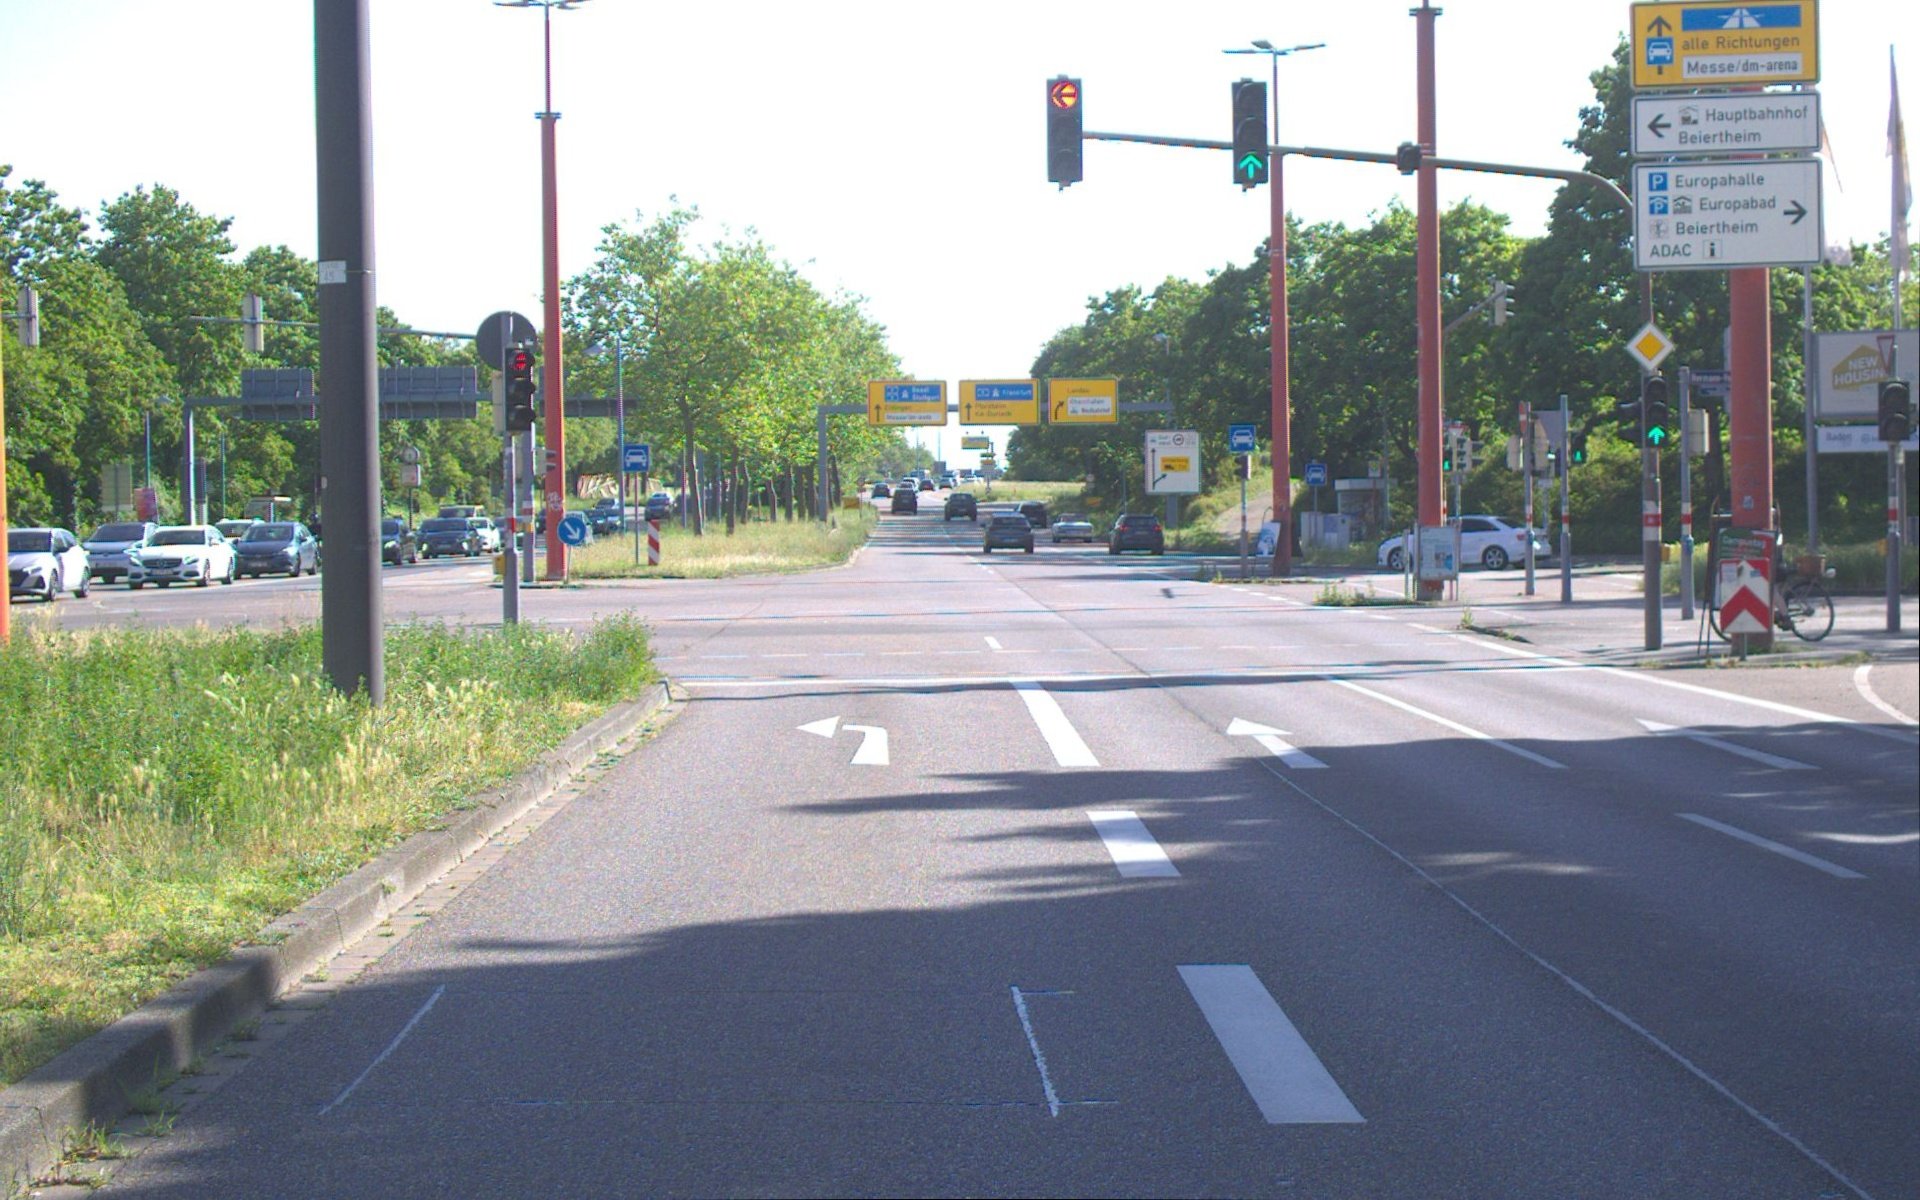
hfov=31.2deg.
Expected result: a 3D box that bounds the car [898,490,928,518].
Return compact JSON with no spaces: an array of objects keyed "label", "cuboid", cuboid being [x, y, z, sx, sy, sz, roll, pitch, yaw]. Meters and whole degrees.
[{"label":"car","cuboid":[-3.427,-6.922,248.801,1.993,2.007,4.001,0,1,-3]}]

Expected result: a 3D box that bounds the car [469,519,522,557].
[{"label":"car","cuboid":[-18.527,-2.485,137.264,1.605,1.454,3.950,-1,1,0]}]

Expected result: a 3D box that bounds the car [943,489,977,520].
[{"label":"car","cuboid":[0.003,-6.255,225.908,2.154,2.007,4.000,-1,1,-1]}]

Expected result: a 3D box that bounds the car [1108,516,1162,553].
[{"label":"car","cuboid":[6.365,-2.403,125.363,1.738,1.337,3.082,-1,1,-1]}]

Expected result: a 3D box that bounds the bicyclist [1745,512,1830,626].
[{"label":"bicyclist","cuboid":[9.807,-0.370,40.735,0.739,1.337,0.708,0,1,-10]}]

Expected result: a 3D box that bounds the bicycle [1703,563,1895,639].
[{"label":"bicycle","cuboid":[9.935,0.008,40.713,2.161,0.875,0.560,0,1,-12]}]

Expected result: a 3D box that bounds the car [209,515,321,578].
[{"label":"car","cuboid":[-18.623,-1.457,92.290,1.993,1.589,4.464,-1,1,1]}]

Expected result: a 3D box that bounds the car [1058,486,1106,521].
[{"label":"car","cuboid":[5.482,-4.350,154.941,1.993,1.535,4.000,0,1,-1]}]

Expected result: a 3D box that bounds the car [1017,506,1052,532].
[{"label":"car","cuboid":[4.441,-4.821,205.537,1.993,1.535,4.000,0,1,-1]}]

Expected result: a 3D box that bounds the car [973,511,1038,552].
[{"label":"car","cuboid":[1.657,-2.537,126.766,1.993,1.491,4.001,-1,1,-5]}]

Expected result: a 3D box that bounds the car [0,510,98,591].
[{"label":"car","cuboid":[-18.327,-0.980,67.658,1.589,1.467,4.183,-2,2,0]}]

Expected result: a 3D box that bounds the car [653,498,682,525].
[{"label":"car","cuboid":[-19.739,-5.985,232.351,1.625,1.733,4.000,0,2,0]}]

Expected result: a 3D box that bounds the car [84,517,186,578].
[{"label":"car","cuboid":[-21.888,-1.409,91.323,1.876,1.570,4.001,0,1,-2]}]

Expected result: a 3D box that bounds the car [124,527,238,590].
[{"label":"car","cuboid":[-18.462,-1.003,81.672,1.703,1.418,4.643,-1,1,-1]}]

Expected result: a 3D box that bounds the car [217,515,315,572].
[{"label":"car","cuboid":[-20.055,-1.643,99.525,1.838,1.595,4.438,-1,1,1]}]

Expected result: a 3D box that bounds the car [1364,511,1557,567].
[{"label":"car","cuboid":[12.645,-1.549,86.830,4.384,1.366,2.058,0,2,28]}]

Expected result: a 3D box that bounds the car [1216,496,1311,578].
[{"label":"car","cuboid":[7.195,-1.498,81.288,1.994,1.881,3.999,0,1,8]}]

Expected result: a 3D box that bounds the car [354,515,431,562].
[{"label":"car","cuboid":[-18.070,-1.965,109.579,1.876,1.480,4.606,0,1,-2]}]

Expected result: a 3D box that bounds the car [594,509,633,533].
[{"label":"car","cuboid":[-19.655,-4.484,195.133,2.003,1.303,4.001,-1,1,-4]}]

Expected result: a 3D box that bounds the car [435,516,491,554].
[{"label":"car","cuboid":[-18.445,-2.429,127.813,1.548,1.372,4.263,-1,1,-1]}]
